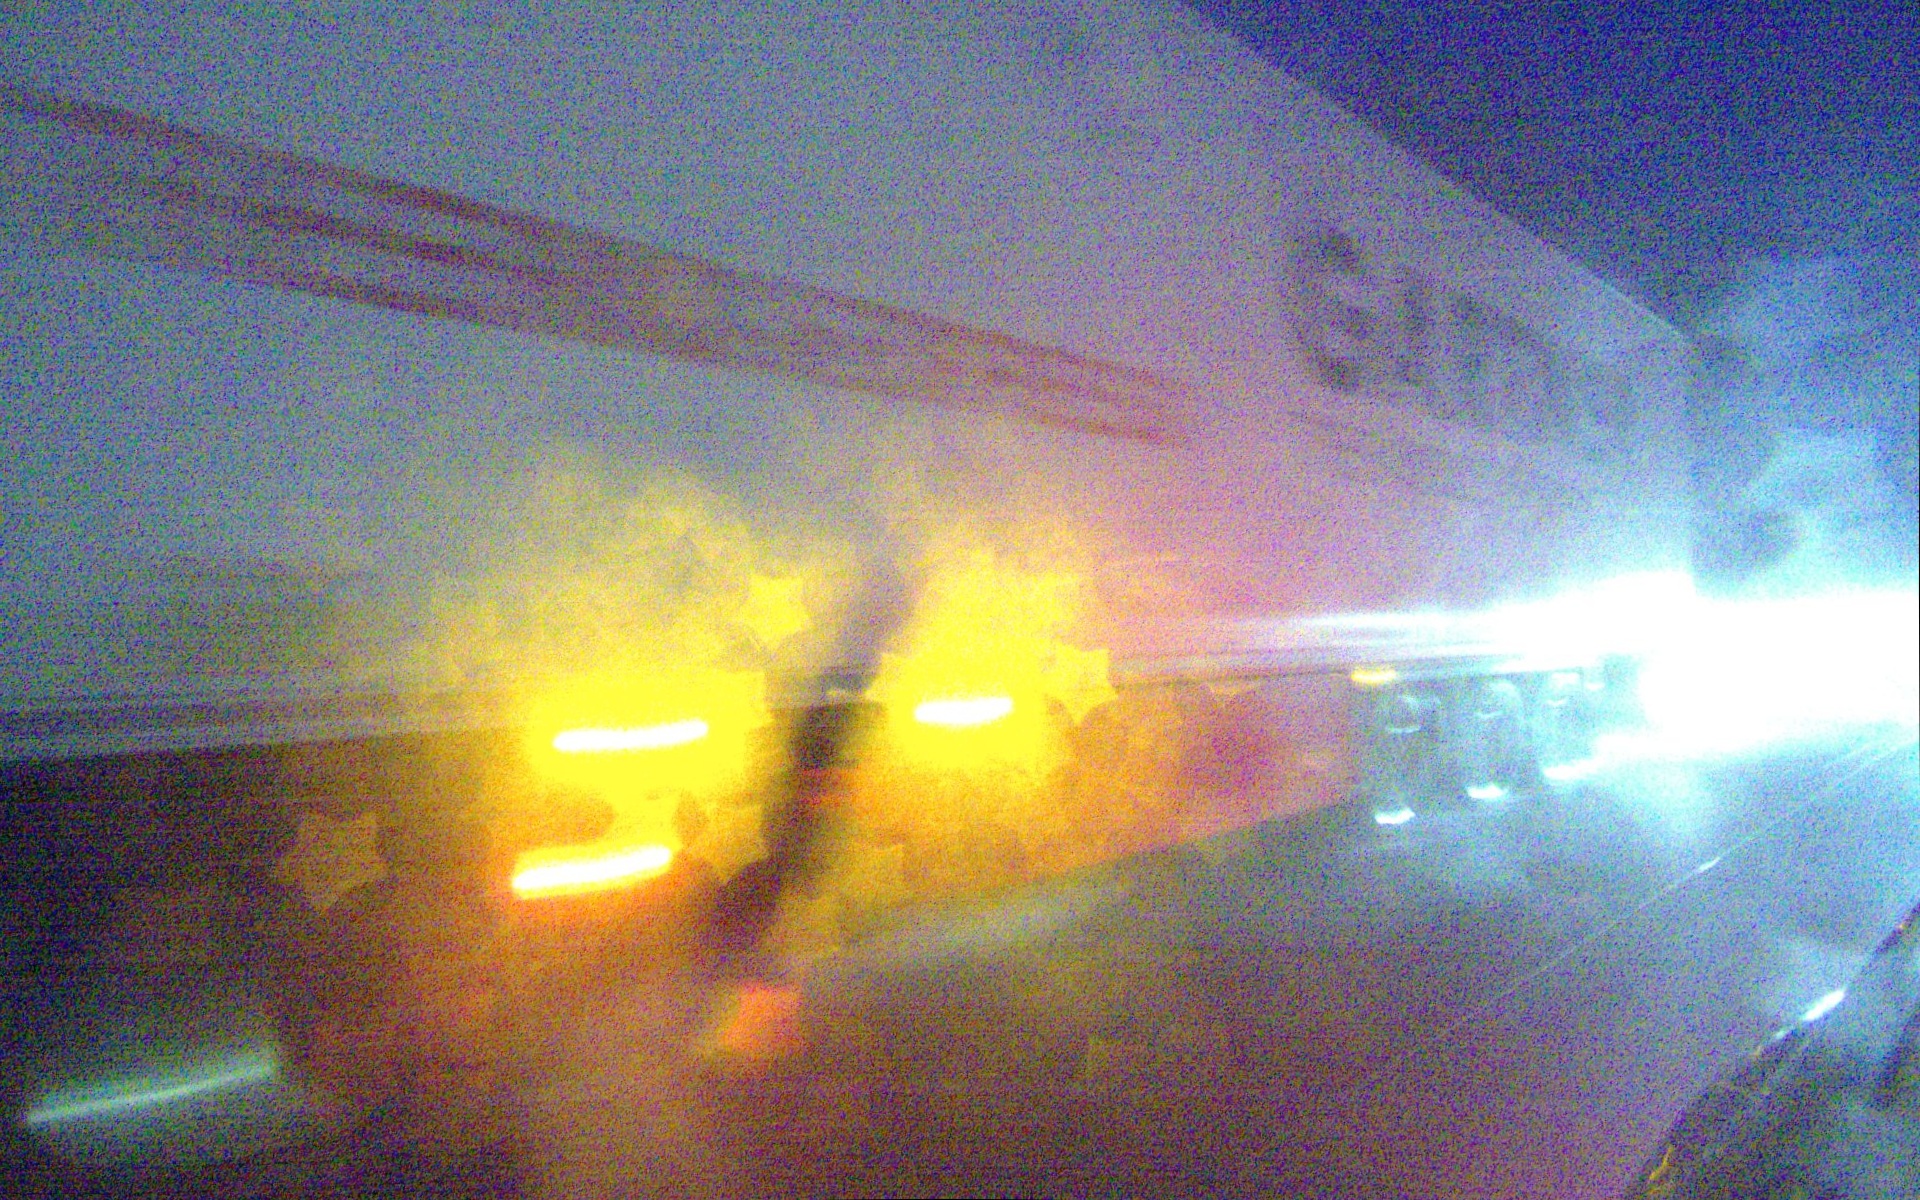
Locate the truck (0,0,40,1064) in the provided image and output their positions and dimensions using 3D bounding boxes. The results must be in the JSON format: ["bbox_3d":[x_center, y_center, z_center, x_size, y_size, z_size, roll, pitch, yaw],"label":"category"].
[{"bbox_3d":[-4.662,-0.797,1.138,5.198,4.294,2.716,0,1,-39],"label":"truck"}]

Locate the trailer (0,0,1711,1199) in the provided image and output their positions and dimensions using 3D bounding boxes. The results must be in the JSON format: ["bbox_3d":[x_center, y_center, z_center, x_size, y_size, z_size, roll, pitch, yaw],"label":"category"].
[{"bbox_3d":[1.182,-0.738,6.218,13.138,4.303,2.742,1,-2,-41],"label":"trailer"}]
